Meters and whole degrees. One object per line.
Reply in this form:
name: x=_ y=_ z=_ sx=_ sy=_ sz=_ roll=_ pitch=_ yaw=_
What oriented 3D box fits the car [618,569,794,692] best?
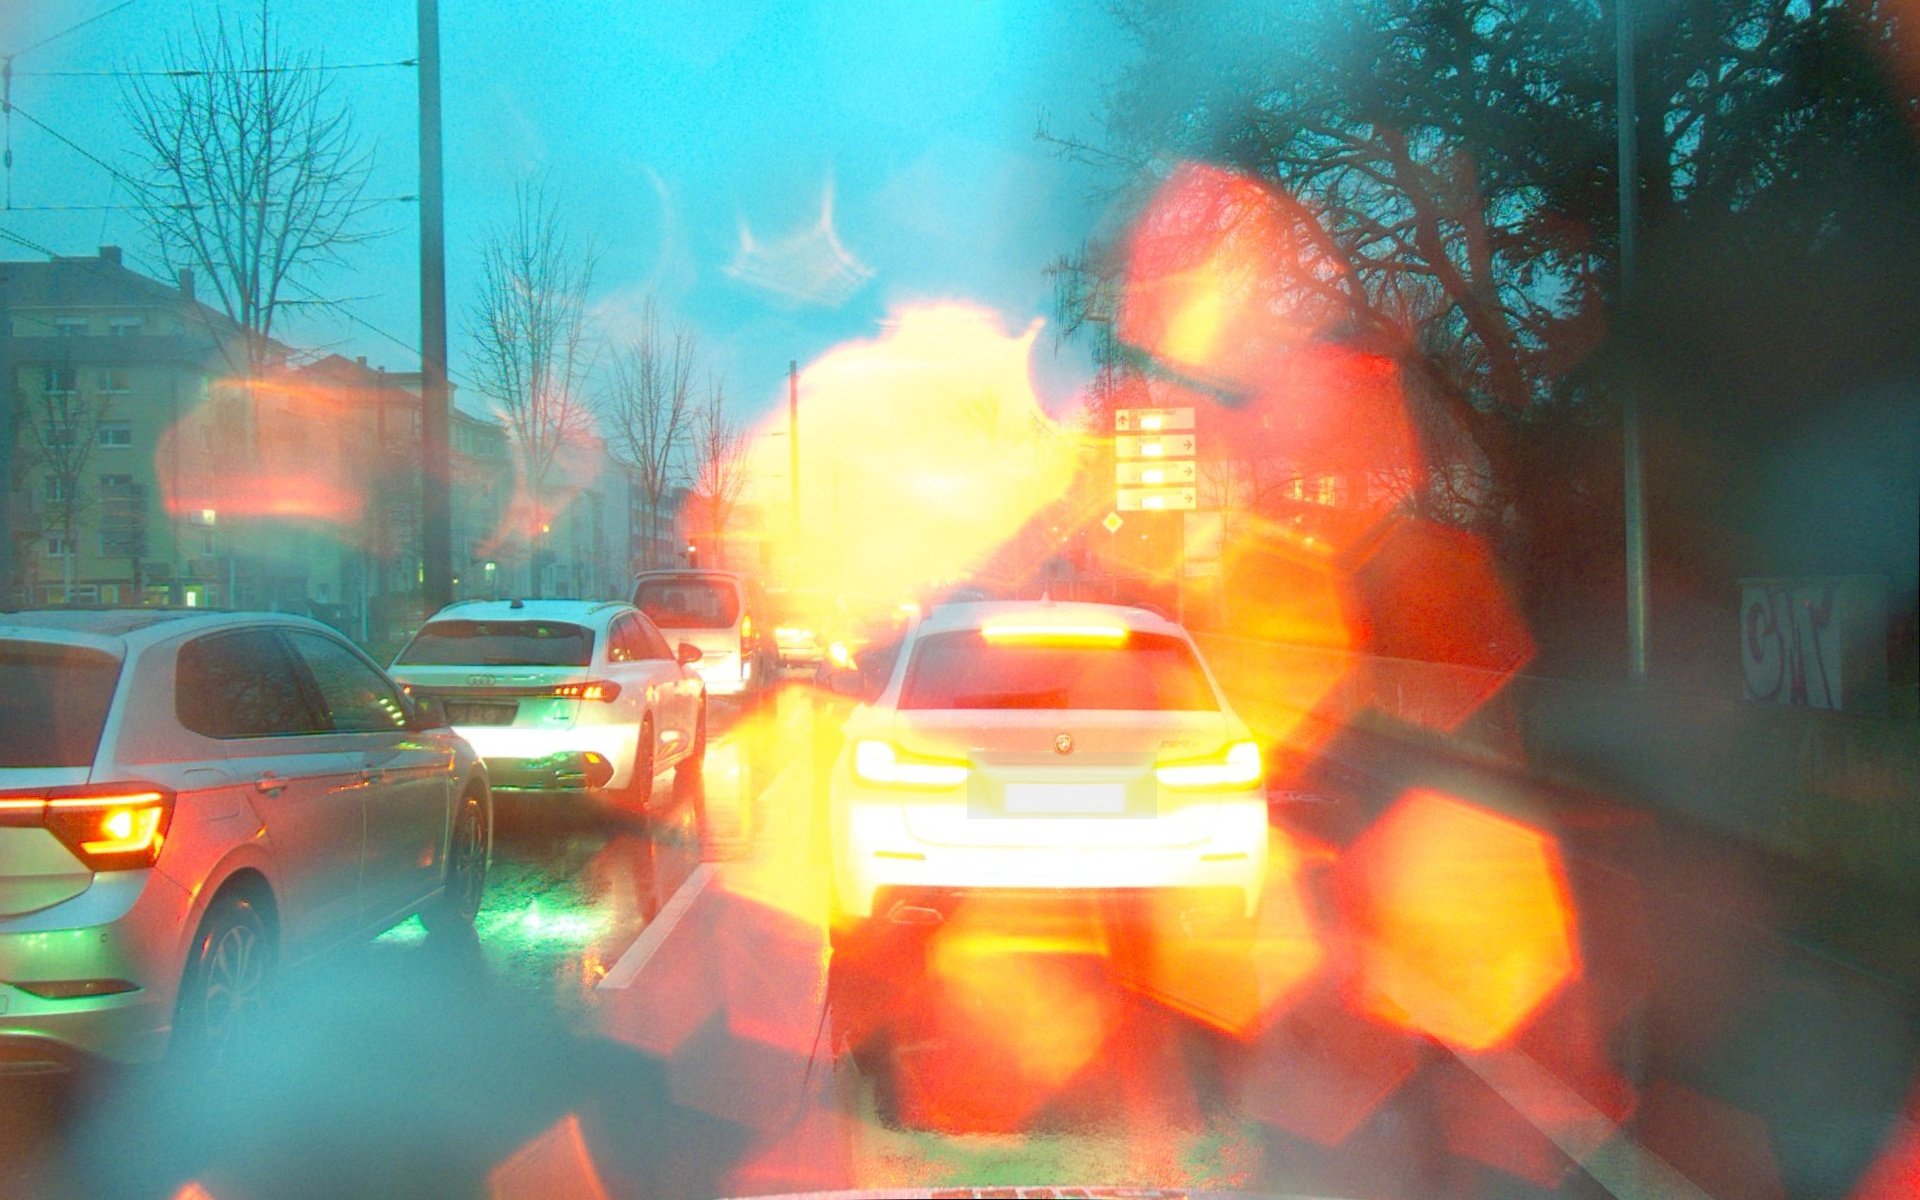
car: x=-3.262 y=0.353 z=22.030 sx=1.702 sy=1.444 sz=4.393 roll=-1 pitch=0 yaw=-1

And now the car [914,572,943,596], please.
car: x=-1.935 y=-0.982 z=101.599 sx=1.702 sy=1.444 sz=4.145 roll=-1 pitch=0 yaw=-1

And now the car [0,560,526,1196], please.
car: x=-2.918 y=0.668 z=6.044 sx=1.658 sy=1.560 sz=3.999 roll=0 pitch=0 yaw=-1

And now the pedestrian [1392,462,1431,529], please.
pedestrian: x=14.174 y=-3.268 z=51.951 sx=0.939 sy=2.049 sz=1.008 roll=-1 pitch=0 yaw=3

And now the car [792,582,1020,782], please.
car: x=-0.451 y=0.642 z=14.916 sx=1.763 sy=1.537 sz=3.894 roll=-1 pitch=0 yaw=-1

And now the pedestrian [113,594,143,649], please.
pedestrian: x=-31.735 y=0.810 z=63.089 sx=0.993 sy=2.049 sz=0.953 roll=-1 pitch=0 yaw=-29

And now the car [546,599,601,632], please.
car: x=-19.634 y=0.769 z=84.258 sx=1.953 sy=1.630 sz=3.998 roll=1 pitch=0 yaw=-2

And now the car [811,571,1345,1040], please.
car: x=0.377 y=0.694 z=8.202 sx=1.825 sy=1.583 sz=4.937 roll=-1 pitch=0 yaw=-1

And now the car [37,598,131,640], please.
car: x=-43.750 y=0.946 z=82.663 sx=3.679 sy=1.976 sz=1.838 roll=1 pitch=0 yaw=-9

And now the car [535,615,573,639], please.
car: x=-24.056 y=1.580 z=98.039 sx=1.659 sy=1.300 sz=4.142 roll=-1 pitch=0 yaw=-7

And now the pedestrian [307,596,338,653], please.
pedestrian: x=-23.745 y=0.903 z=61.588 sx=1.053 sy=2.049 sz=1.001 roll=-1 pitch=0 yaw=-22

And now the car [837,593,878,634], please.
car: x=-3.476 y=0.466 z=56.296 sx=1.336 sy=1.339 sz=2.714 roll=1 pitch=0 yaw=-3

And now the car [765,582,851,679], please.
car: x=-2.757 y=0.539 z=30.436 sx=1.476 sy=1.681 sz=2.842 roll=1 pitch=0 yaw=-4

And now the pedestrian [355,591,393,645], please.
pedestrian: x=-22.607 y=0.699 z=63.812 sx=1.253 sy=2.049 sz=1.000 roll=-1 pitch=0 yaw=-25

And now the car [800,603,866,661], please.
car: x=-3.023 y=0.745 z=39.732 sx=1.335 sy=1.339 sz=2.716 roll=1 pitch=0 yaw=0

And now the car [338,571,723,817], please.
car: x=-2.990 y=0.569 z=12.556 sx=1.762 sy=1.492 sz=4.585 roll=-1 pitch=0 yaw=-1

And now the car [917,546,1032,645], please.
car: x=0.191 y=-0.083 z=26.554 sx=1.702 sy=1.444 sz=3.702 roll=-1 pitch=0 yaw=-1
